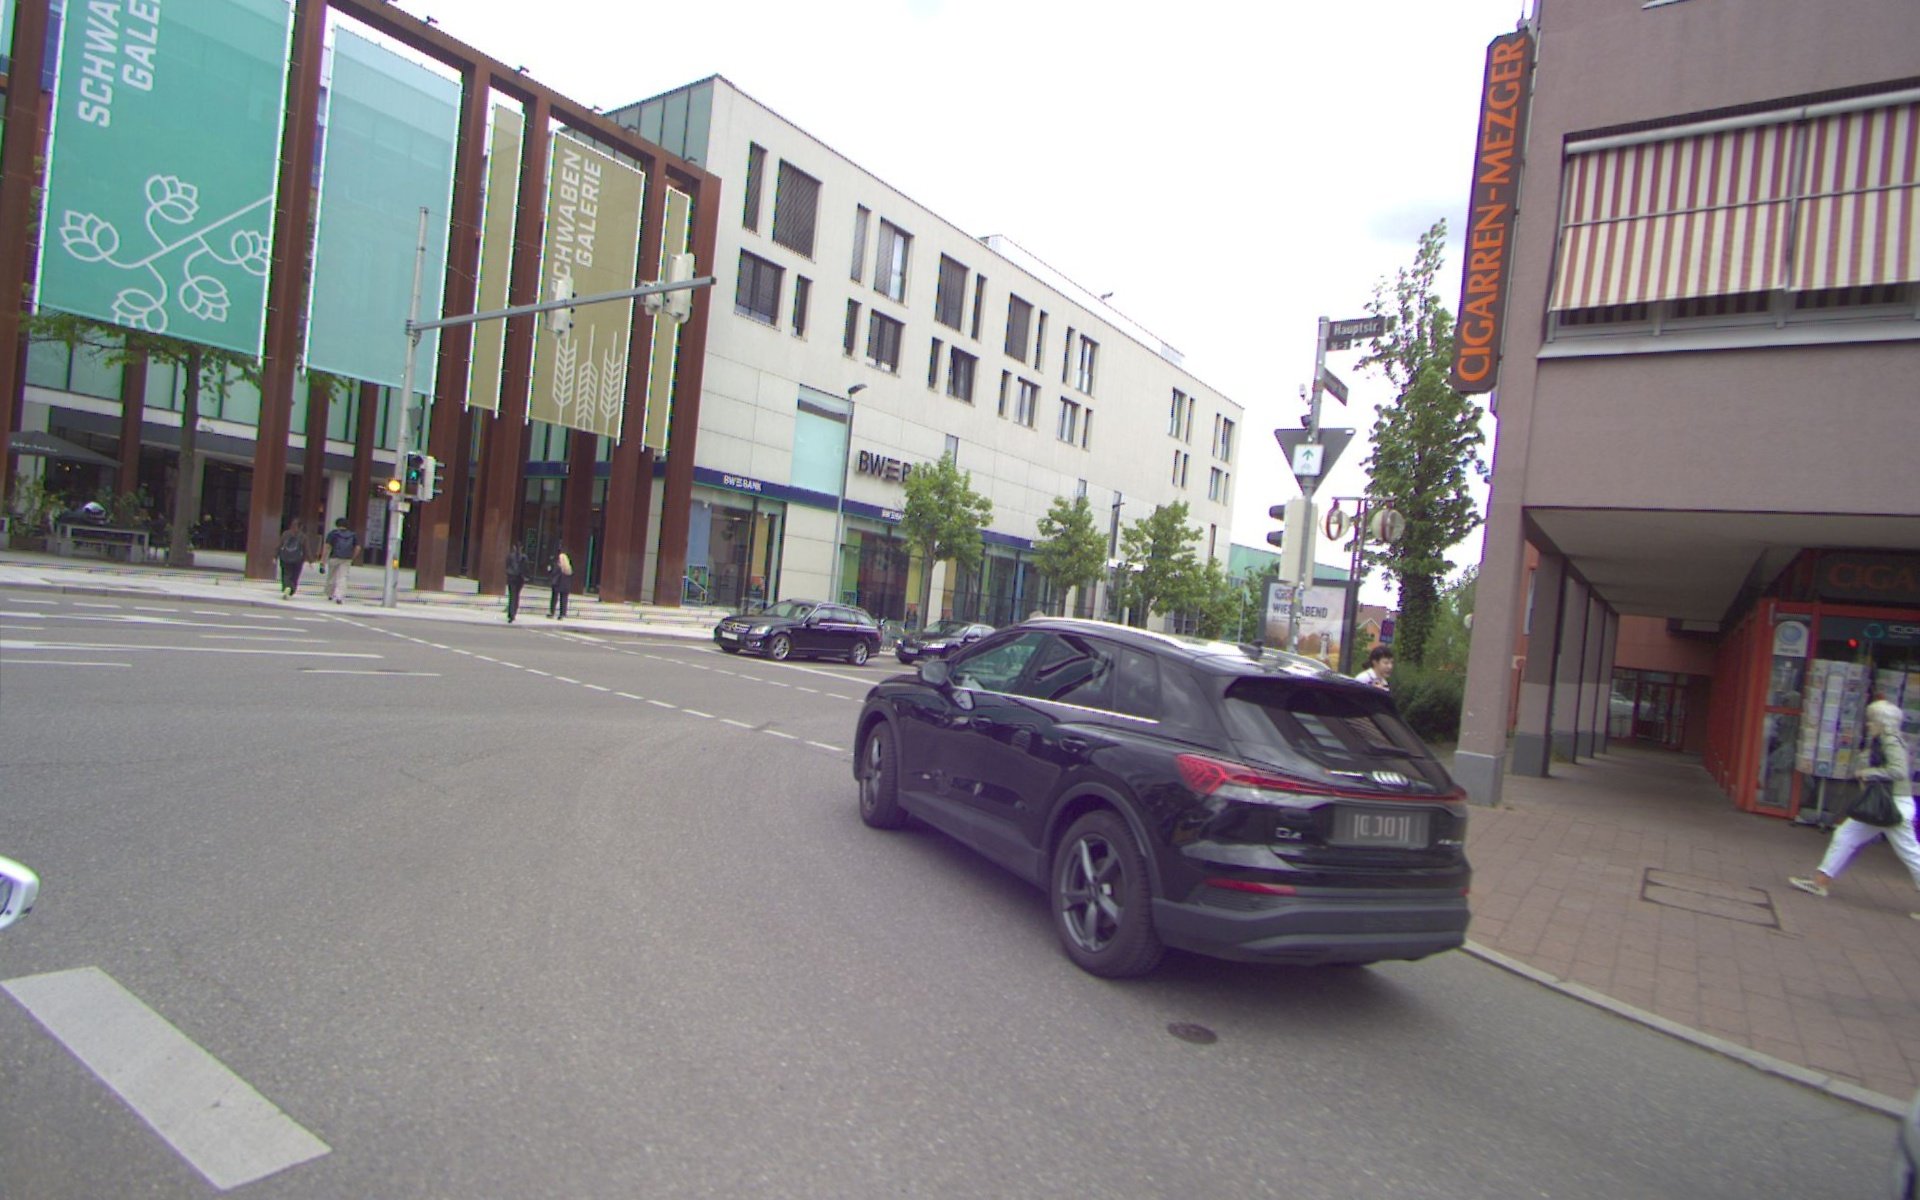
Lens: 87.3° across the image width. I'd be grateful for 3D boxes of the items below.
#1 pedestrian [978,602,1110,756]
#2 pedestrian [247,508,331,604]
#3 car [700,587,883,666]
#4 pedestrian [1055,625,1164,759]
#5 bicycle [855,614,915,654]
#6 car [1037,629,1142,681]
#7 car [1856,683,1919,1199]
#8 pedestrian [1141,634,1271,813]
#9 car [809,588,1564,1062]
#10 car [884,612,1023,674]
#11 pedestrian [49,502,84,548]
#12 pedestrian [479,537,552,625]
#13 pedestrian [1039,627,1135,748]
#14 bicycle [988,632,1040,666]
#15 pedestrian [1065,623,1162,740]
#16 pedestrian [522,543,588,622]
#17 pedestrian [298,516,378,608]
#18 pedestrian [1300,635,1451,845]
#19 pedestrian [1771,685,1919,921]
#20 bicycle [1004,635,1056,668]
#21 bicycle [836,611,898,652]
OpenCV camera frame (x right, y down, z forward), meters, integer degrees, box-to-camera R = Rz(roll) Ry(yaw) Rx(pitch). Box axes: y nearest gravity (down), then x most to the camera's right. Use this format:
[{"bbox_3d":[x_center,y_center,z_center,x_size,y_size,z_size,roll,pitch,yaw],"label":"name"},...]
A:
[{"bbox_3d":[1.060,0.981,12.672,1.093,1.737,1.056,7,1,36],"label":"pedestrian"},{"bbox_3d":[-12.994,-0.854,19.483,1.102,1.703,0.879,7,1,34],"label":"pedestrian"},{"bbox_3d":[-3.891,0.686,23.830,1.772,1.421,4.176,7,-1,34],"label":"car"},{"bbox_3d":[1.998,1.211,13.440,1.022,1.615,0.822,7,1,33],"label":"pedestrian"},{"bbox_3d":[-2.575,1.143,34.314,1.962,1.115,0.718,7,1,37],"label":"bicycle"},{"bbox_3d":[4.787,2.052,36.621,1.772,1.505,4.561,7,-1,34],"label":"car"},{"bbox_3d":[4.056,1.200,1.188,4.321,1.721,1.738,6,-2,42],"label":"car"},{"bbox_3d":[2.531,1.229,10.342,0.938,1.647,0.741,7,2,34],"label":"pedestrian"},{"bbox_3d":[0.763,0.928,6.303,1.835,1.628,4.830,8,-1,-26],"label":"car"},{"bbox_3d":[-0.110,1.317,30.040,1.772,1.421,4.538,7,-1,35],"label":"car"},{"bbox_3d":[-26.048,-2.184,29.332,0.783,1.224,0.515,8,2,35],"label":"pedestrian"},{"bbox_3d":[-9.743,-0.415,22.051,1.102,1.789,0.878,7,1,34],"label":"pedestrian"},{"bbox_3d":[1.843,1.246,14.547,0.953,1.578,0.830,7,1,32],"label":"pedestrian"},{"bbox_3d":[2.179,1.993,40.854,1.962,1.115,0.718,7,1,37],"label":"bicycle"},{"bbox_3d":[2.337,1.231,15.287,1.041,1.604,0.830,7,1,32],"label":"pedestrian"},{"bbox_3d":[-9.952,-0.417,24.718,1.102,1.789,0.878,7,1,34],"label":"pedestrian"},{"bbox_3d":[-12.558,-0.766,20.304,1.102,1.703,0.879,7,1,34],"label":"pedestrian"},{"bbox_3d":[3.684,1.197,8.918,0.938,1.647,0.741,7,2,34],"label":"pedestrian"},{"bbox_3d":[7.252,1.570,7.957,1.076,1.647,0.808,7,2,35],"label":"pedestrian"},{"bbox_3d":[2.913,2.123,41.873,1.962,1.115,0.718,7,1,37],"label":"bicycle"},{"bbox_3d":[-3.100,1.046,33.478,1.962,1.115,0.718,7,1,37],"label":"bicycle"}]
